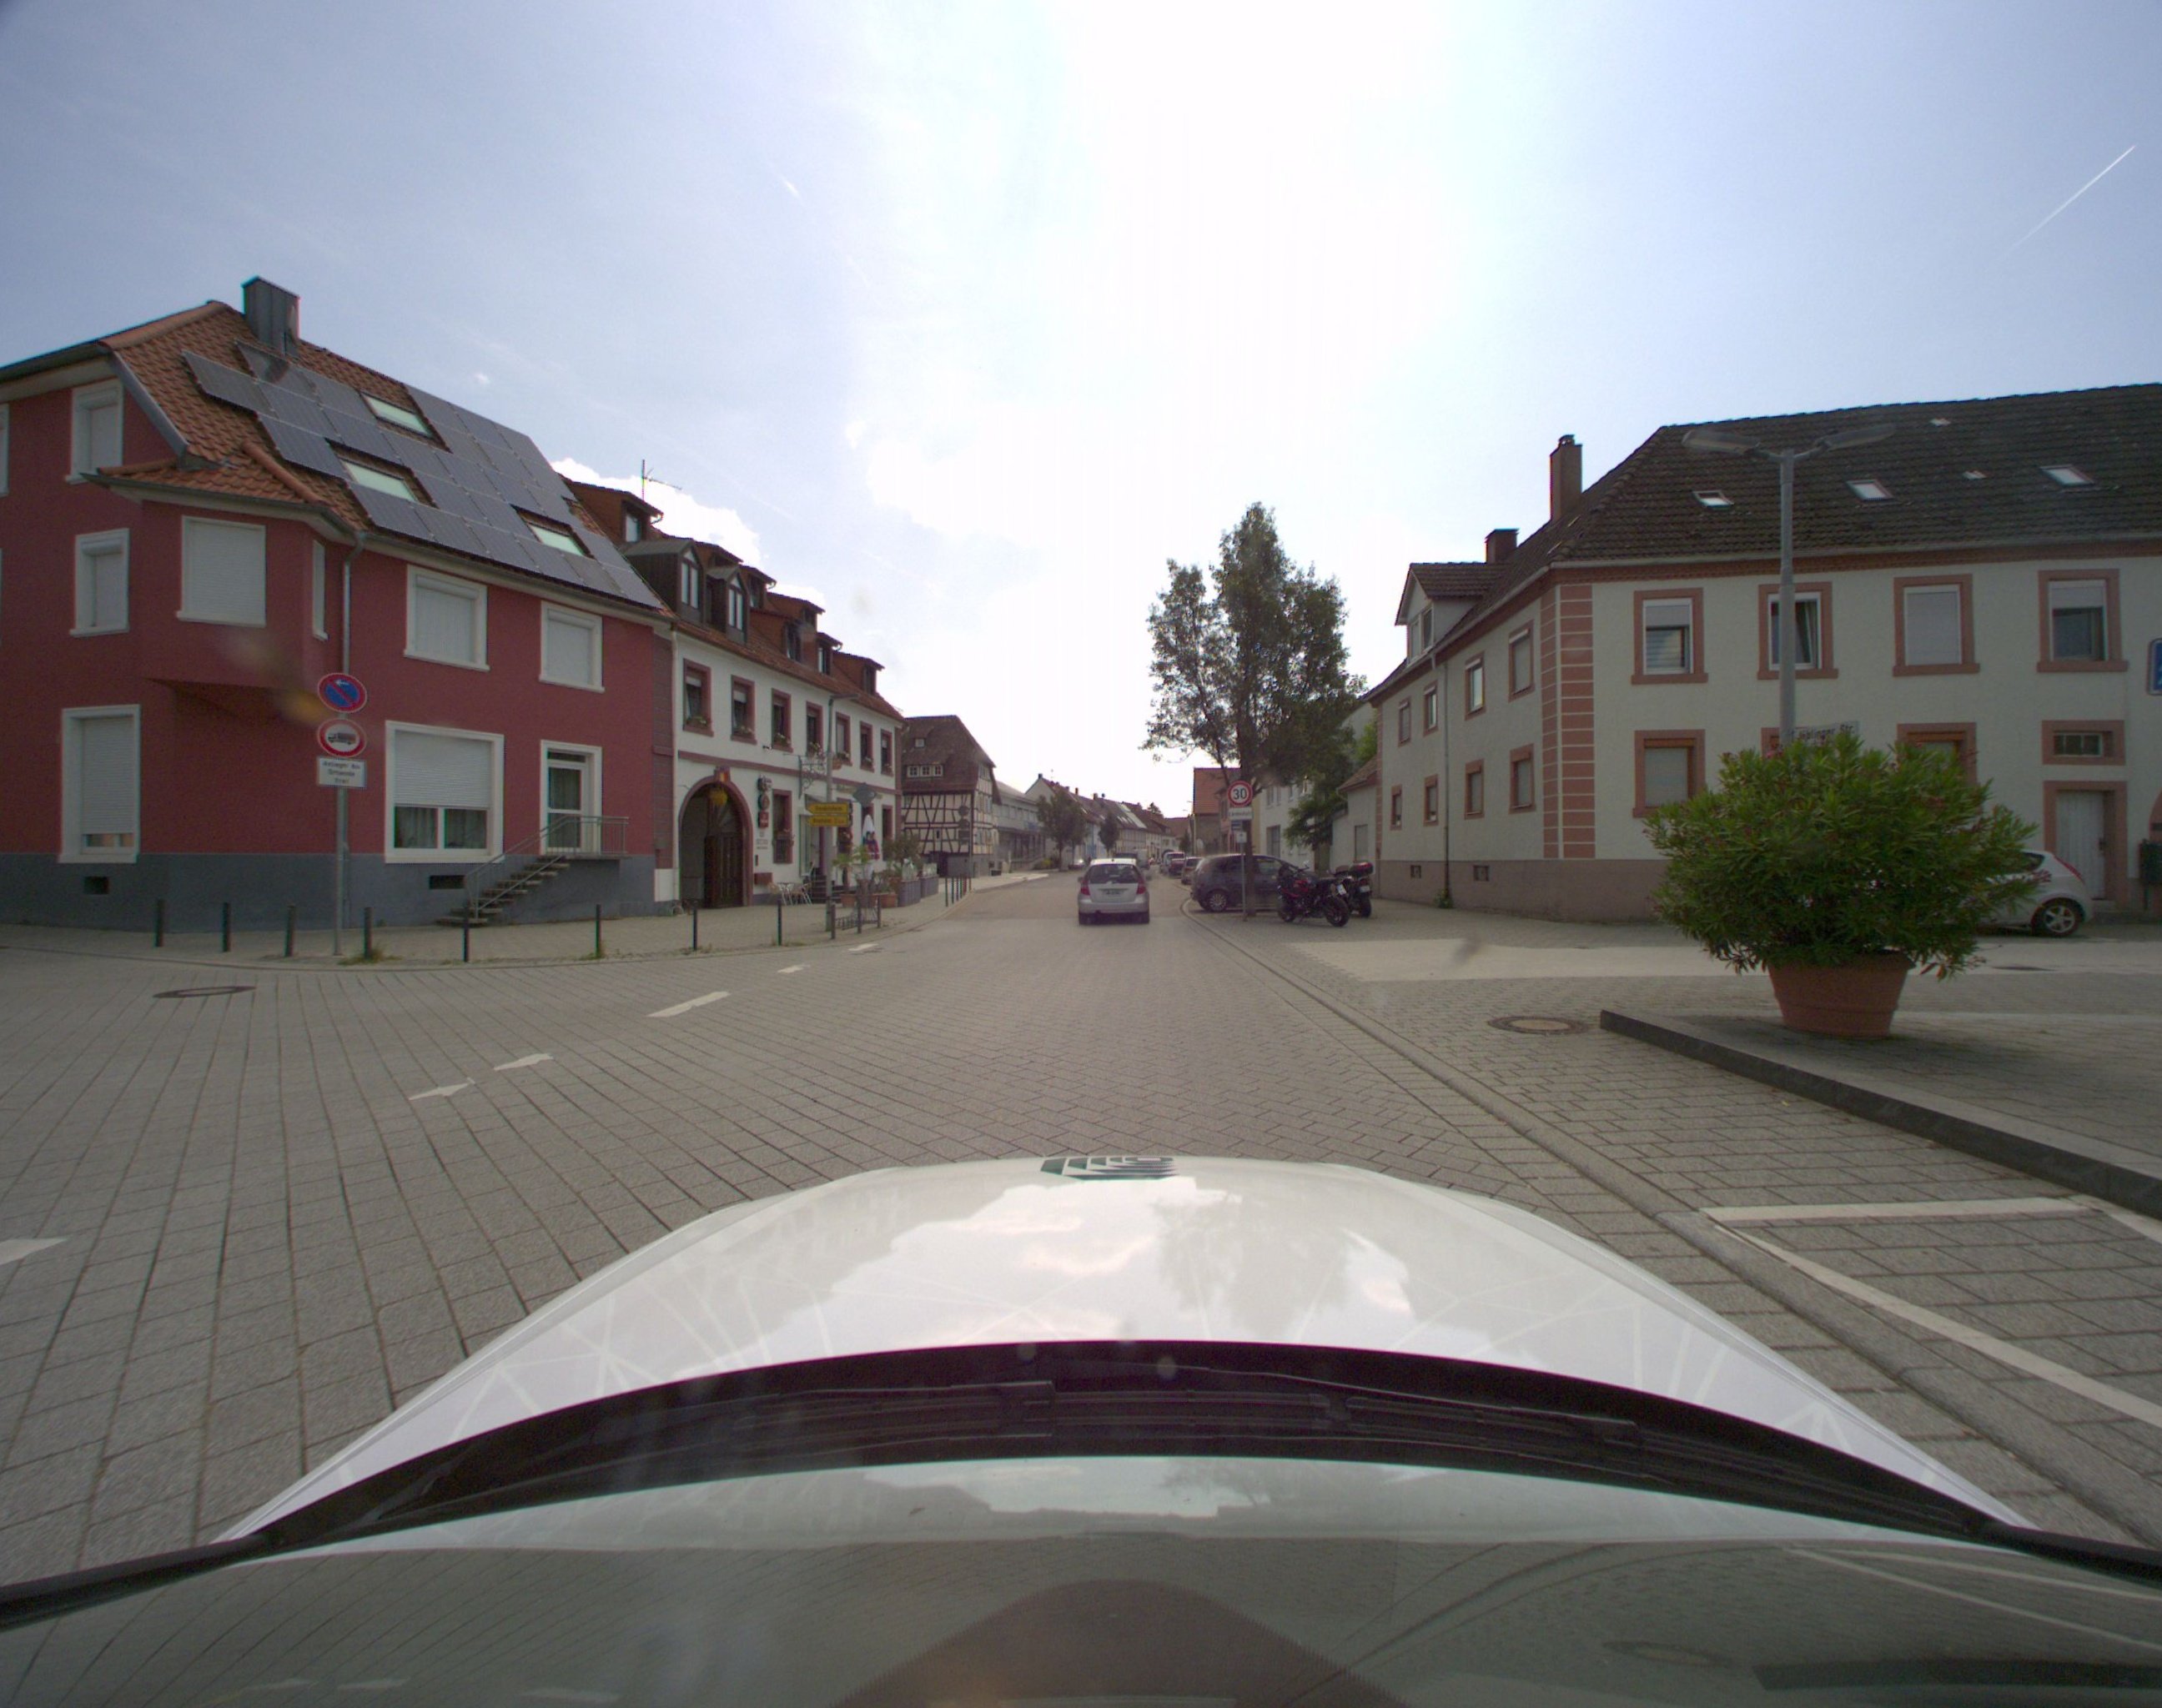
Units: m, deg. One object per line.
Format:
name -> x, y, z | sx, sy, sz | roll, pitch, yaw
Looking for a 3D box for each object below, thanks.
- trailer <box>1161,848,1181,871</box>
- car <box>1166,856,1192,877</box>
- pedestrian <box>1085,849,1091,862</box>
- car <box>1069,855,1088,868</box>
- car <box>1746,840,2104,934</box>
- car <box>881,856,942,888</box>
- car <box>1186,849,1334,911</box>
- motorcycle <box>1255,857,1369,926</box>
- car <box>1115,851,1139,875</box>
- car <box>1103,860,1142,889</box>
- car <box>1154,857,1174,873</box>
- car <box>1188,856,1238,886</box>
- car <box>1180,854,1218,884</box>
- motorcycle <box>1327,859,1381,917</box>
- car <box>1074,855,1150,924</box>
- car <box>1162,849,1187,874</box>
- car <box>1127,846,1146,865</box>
trailer -> 9.419, 0.556, 85.520 | 1.837, 2.354, 3.593 | -1, 0, 3
car -> 7.529, 0.946, 62.943 | 1.766, 1.495, 4.166 | -1, 0, 4
pedestrian -> 1.008, 0.277, 115.076 | 0.735, 1.801, 0.643 | -1, -1, 5
car -> -0.273, 0.909, 98.682 | 1.794, 1.460, 4.167 | 0, 0, 8
car -> 14.169, 0.546, 13.927 | 3.970, 1.473, 1.830 | -1, 0, 9
car -> -8.689, 0.896, 42.066 | 1.749, 1.492, 4.284 | 3, 0, 7
car -> 5.054, 0.722, 23.387 | 3.835, 1.577, 1.850 | -2, 0, 0
motorcycle -> 4.944, 0.774, 17.556 | 0.877, 1.395, 2.198 | 0, -1, -43
car -> 3.847, 0.724, 67.731 | 1.760, 1.888, 4.453 | 2, -1, 5
car -> 2.179, 1.026, 42.612 | 1.937, 1.407, 4.004 | 0, 0, 4
car -> 8.148, 1.058, 80.356 | 1.867, 1.481, 4.680 | 0, 0, 4
car -> 7.099, 0.894, 44.245 | 1.987, 1.517, 4.371 | -1, 0, 0
car -> 7.116, 0.888, 49.461 | 1.984, 1.680, 4.328 | -1, 0, 4
motorcycle -> 6.629, 0.800, 19.898 | 0.953, 1.298, 2.233 | -2, -1, 12
car -> 0.876, 0.852, 21.292 | 1.761, 1.594, 4.004 | -1, -1, 4
car -> 8.125, 0.650, 70.851 | 1.883, 1.982, 4.936 | -3, 0, 4
car -> 7.054, 0.216, 102.979 | 2.224, 2.222, 4.007 | -1, -1, 6
